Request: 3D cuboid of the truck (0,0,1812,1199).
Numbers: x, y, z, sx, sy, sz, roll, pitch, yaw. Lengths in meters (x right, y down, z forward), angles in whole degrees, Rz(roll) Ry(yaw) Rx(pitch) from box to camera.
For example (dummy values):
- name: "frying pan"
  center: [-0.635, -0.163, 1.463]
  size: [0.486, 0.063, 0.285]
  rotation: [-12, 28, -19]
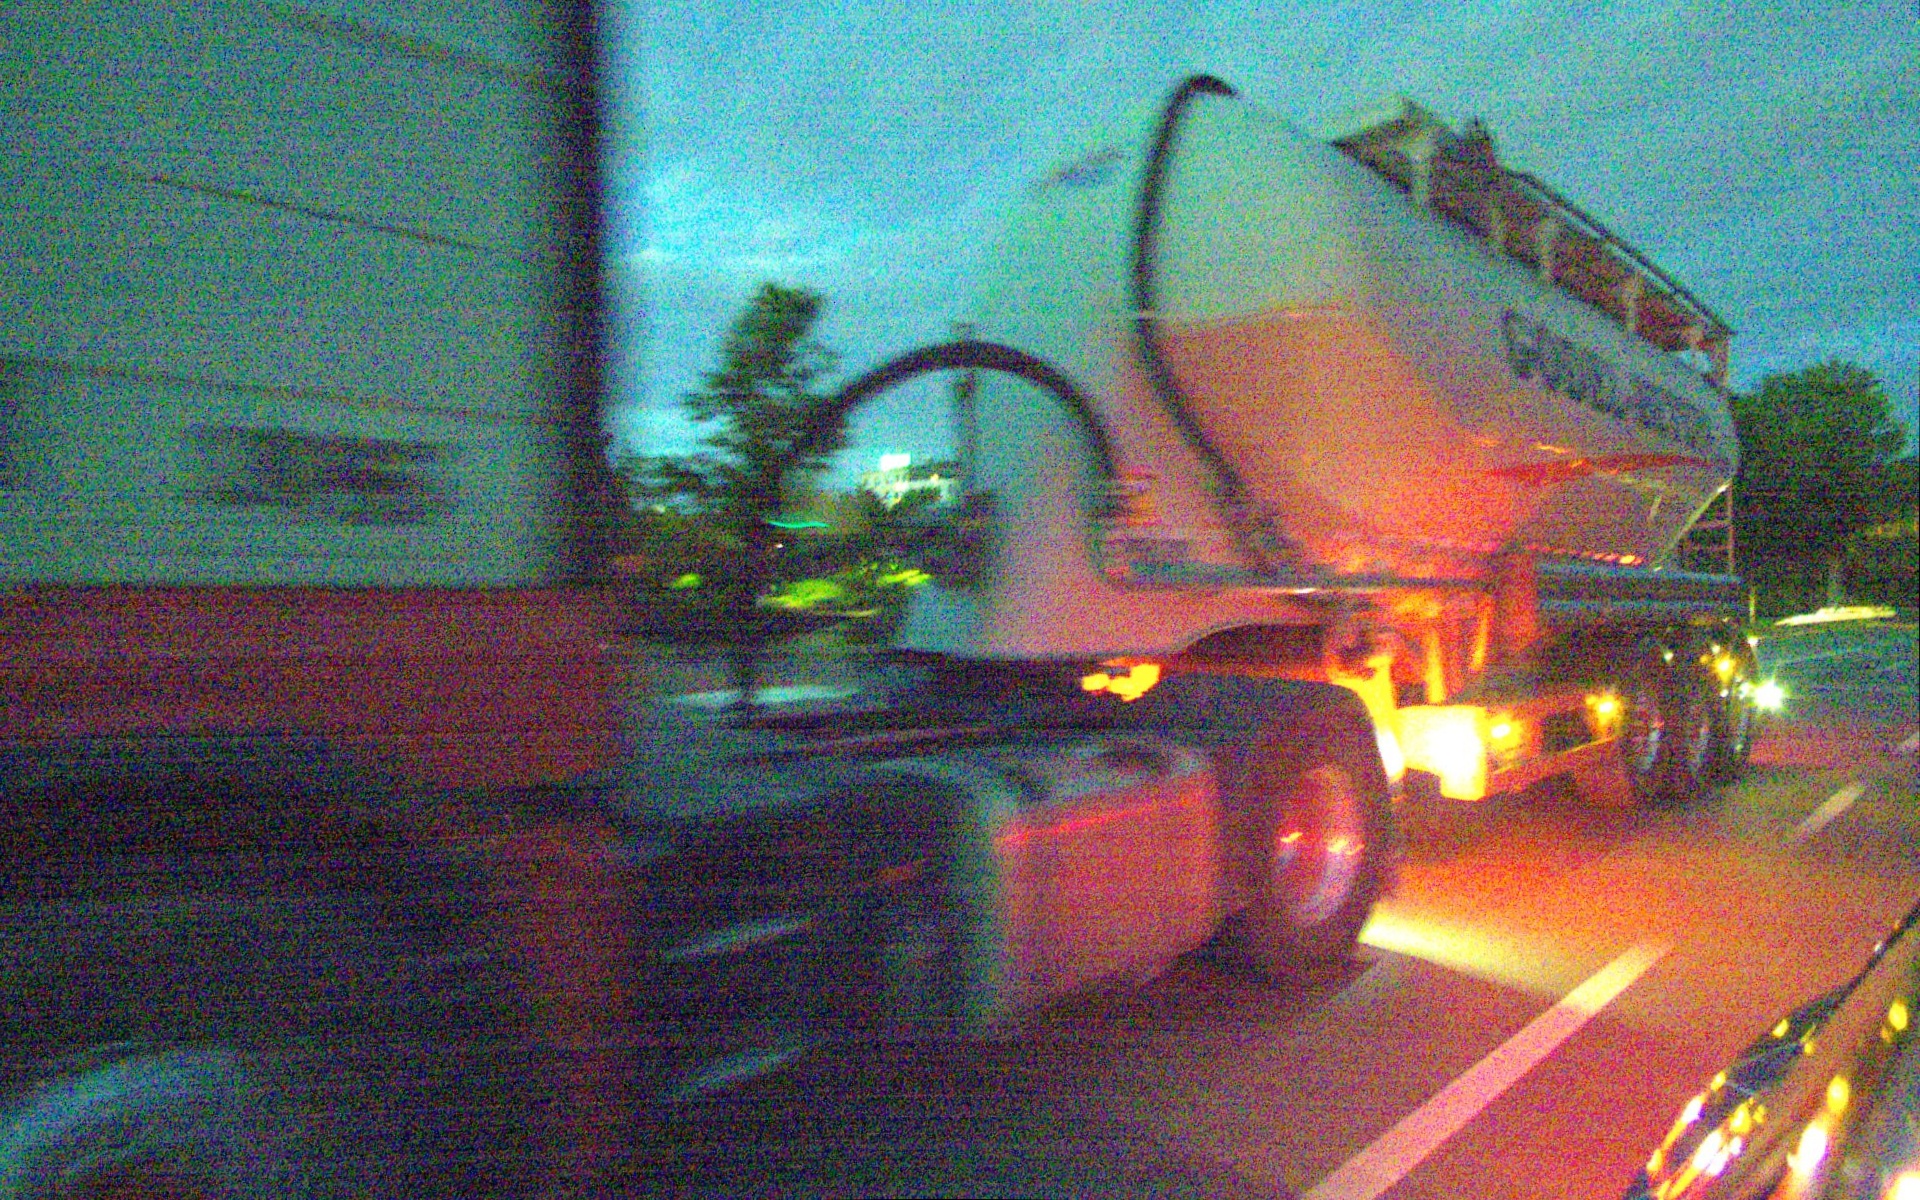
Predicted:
- name: "truck"
  center: [2.115, -0.683, 6.064]
  size: [12.912, 4.158, 2.692]
  rotation: [0, 0, -41]
